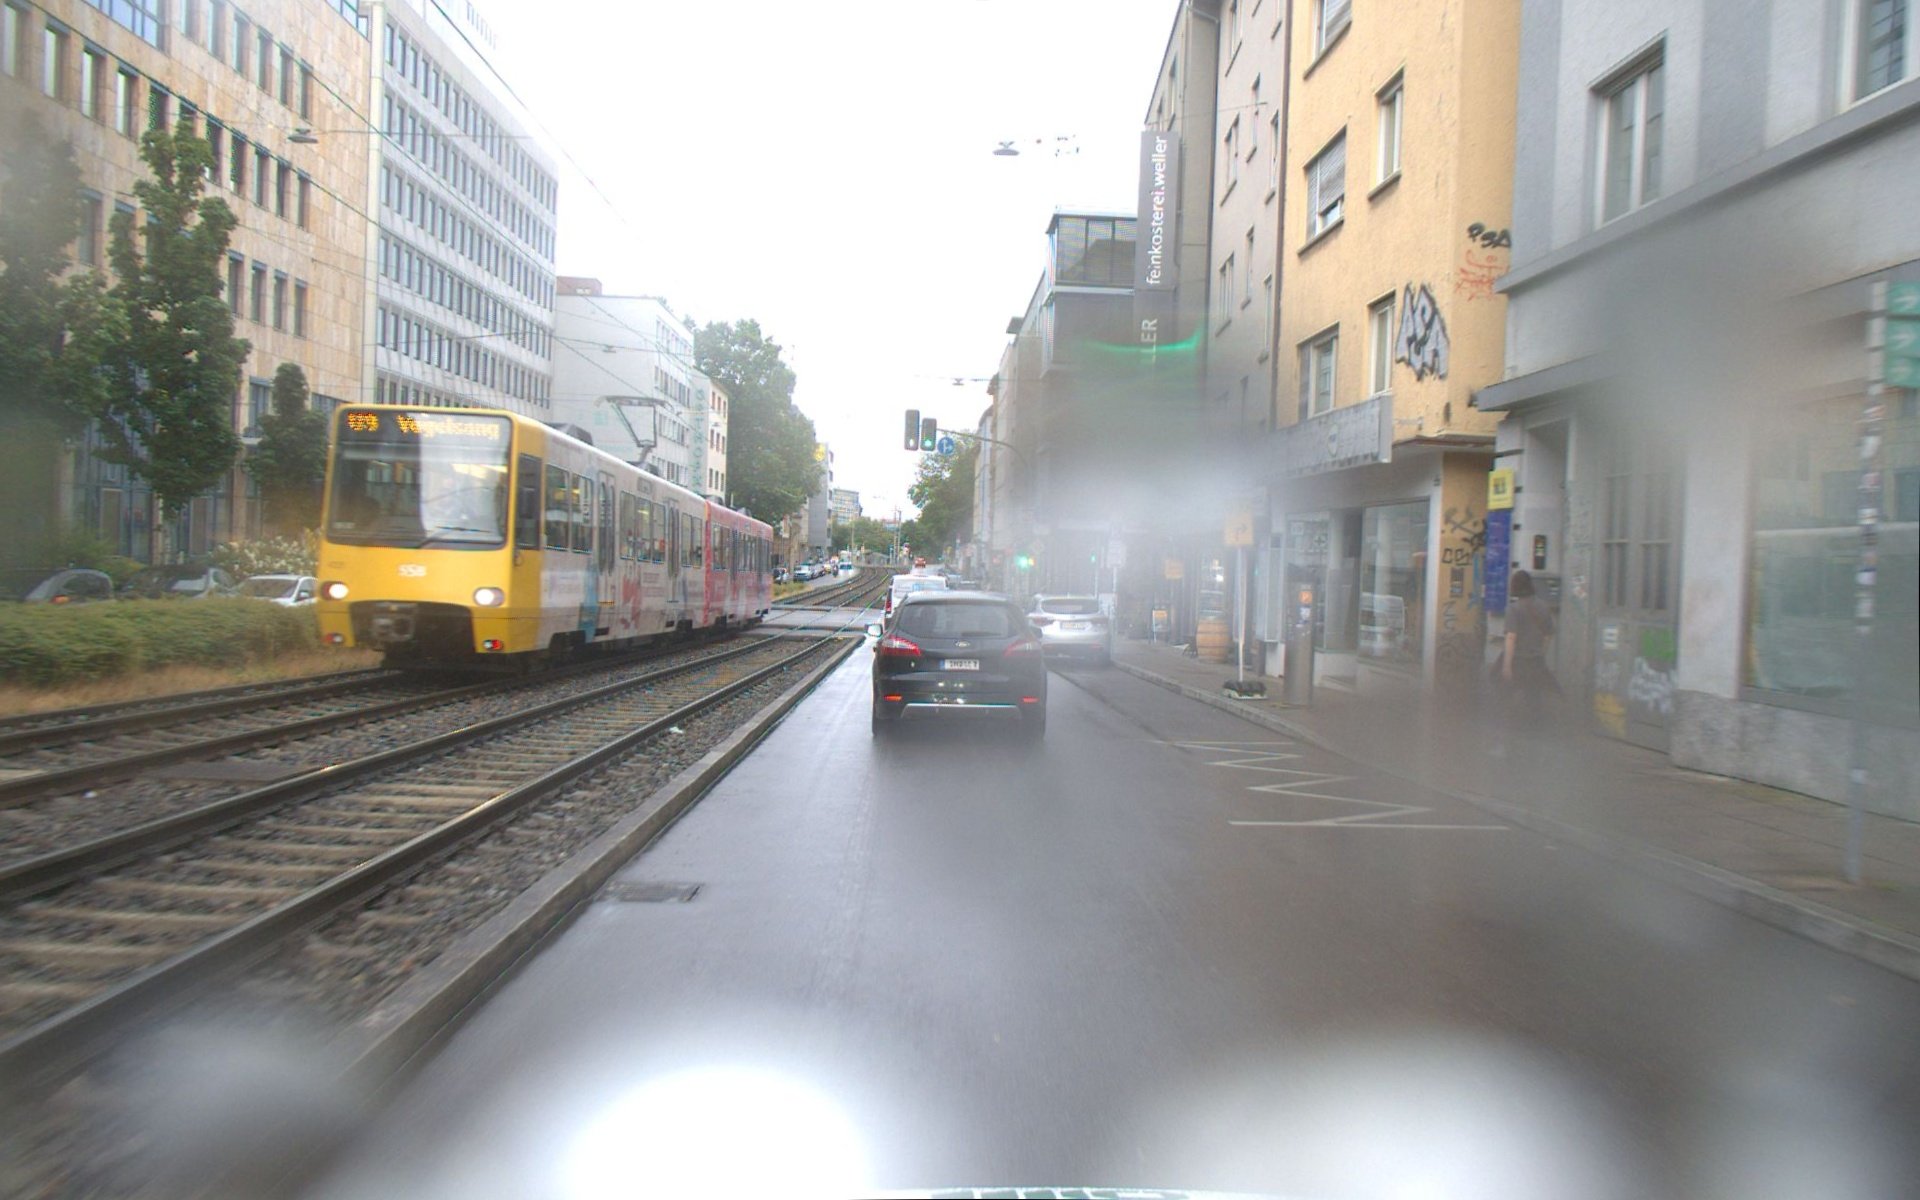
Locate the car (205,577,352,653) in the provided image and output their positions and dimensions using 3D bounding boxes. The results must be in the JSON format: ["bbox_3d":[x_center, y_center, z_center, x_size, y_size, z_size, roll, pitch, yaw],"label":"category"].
[{"bbox_3d":[-15.162,0.282,37.042,1.655,1.512,4.254,2,1,-3],"label":"car"}]

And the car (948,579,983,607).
[{"bbox_3d":[0.315,-0.416,98.282,1.953,1.621,4.270,1,0,-1],"label":"car"}]

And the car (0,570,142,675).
[{"bbox_3d":[-15.029,0.303,26.836,1.655,1.512,3.998,2,1,-3],"label":"car"}]

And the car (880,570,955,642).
[{"bbox_3d":[-1.128,0.149,45.801,1.953,1.848,4.271,1,0,0],"label":"car"}]

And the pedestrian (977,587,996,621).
[{"bbox_3d":[1.287,0.208,80.083,0.650,1.610,0.774,1,0,-23],"label":"pedestrian"}]

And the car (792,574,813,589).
[{"bbox_3d":[-17.506,-2.078,183.736,1.953,1.545,4.434,2,1,-2],"label":"car"}]

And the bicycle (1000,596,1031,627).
[{"bbox_3d":[2.442,0.508,72.647,0.491,1.280,1.941,2,1,-26],"label":"bicycle"}]

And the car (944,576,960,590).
[{"bbox_3d":[-0.999,-2.021,193.119,1.704,1.514,3.999,2,2,-2],"label":"car"}]

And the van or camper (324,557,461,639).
[{"bbox_3d":[-15.341,-0.042,45.036,1.976,2.032,5.196,2,0,-1],"label":"van or camper"}]

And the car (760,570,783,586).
[{"bbox_3d":[-17.285,-2.025,151.593,1.708,1.494,4.219,0,1,-2],"label":"car"}]

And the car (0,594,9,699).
[{"bbox_3d":[-14.711,0.683,22.105,1.616,1.524,4.192,1,0,-1],"label":"car"}]

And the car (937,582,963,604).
[{"bbox_3d":[-0.812,-0.547,129.926,1.953,1.621,4.571,1,0,-1],"label":"car"}]

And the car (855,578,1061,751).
[{"bbox_3d":[-0.051,0.612,17.988,1.953,1.621,4.270,1,0,-1],"label":"car"}]

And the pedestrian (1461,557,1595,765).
[{"bbox_3d":[4.888,0.508,14.268,0.775,1.688,0.721,-4,0,-2],"label":"pedestrian"}]

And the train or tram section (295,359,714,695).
[{"bbox_3d":[-7.001,-0.890,29.694,2.843,4.121,18.406,1,0,-1],"label":"train or tram section"}]

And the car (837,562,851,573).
[{"bbox_3d":[-18.052,-5.064,257.731,1.953,1.545,4.442,2,-1,-1],"label":"car"}]

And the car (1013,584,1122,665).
[{"bbox_3d":[2.286,0.487,36.227,1.983,1.621,4.620,1,0,-1],"label":"car"}]

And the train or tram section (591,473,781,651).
[{"bbox_3d":[-7.459,-0.878,48.261,2.843,4.121,18.762,1,0,-1],"label":"train or tram section"}]
